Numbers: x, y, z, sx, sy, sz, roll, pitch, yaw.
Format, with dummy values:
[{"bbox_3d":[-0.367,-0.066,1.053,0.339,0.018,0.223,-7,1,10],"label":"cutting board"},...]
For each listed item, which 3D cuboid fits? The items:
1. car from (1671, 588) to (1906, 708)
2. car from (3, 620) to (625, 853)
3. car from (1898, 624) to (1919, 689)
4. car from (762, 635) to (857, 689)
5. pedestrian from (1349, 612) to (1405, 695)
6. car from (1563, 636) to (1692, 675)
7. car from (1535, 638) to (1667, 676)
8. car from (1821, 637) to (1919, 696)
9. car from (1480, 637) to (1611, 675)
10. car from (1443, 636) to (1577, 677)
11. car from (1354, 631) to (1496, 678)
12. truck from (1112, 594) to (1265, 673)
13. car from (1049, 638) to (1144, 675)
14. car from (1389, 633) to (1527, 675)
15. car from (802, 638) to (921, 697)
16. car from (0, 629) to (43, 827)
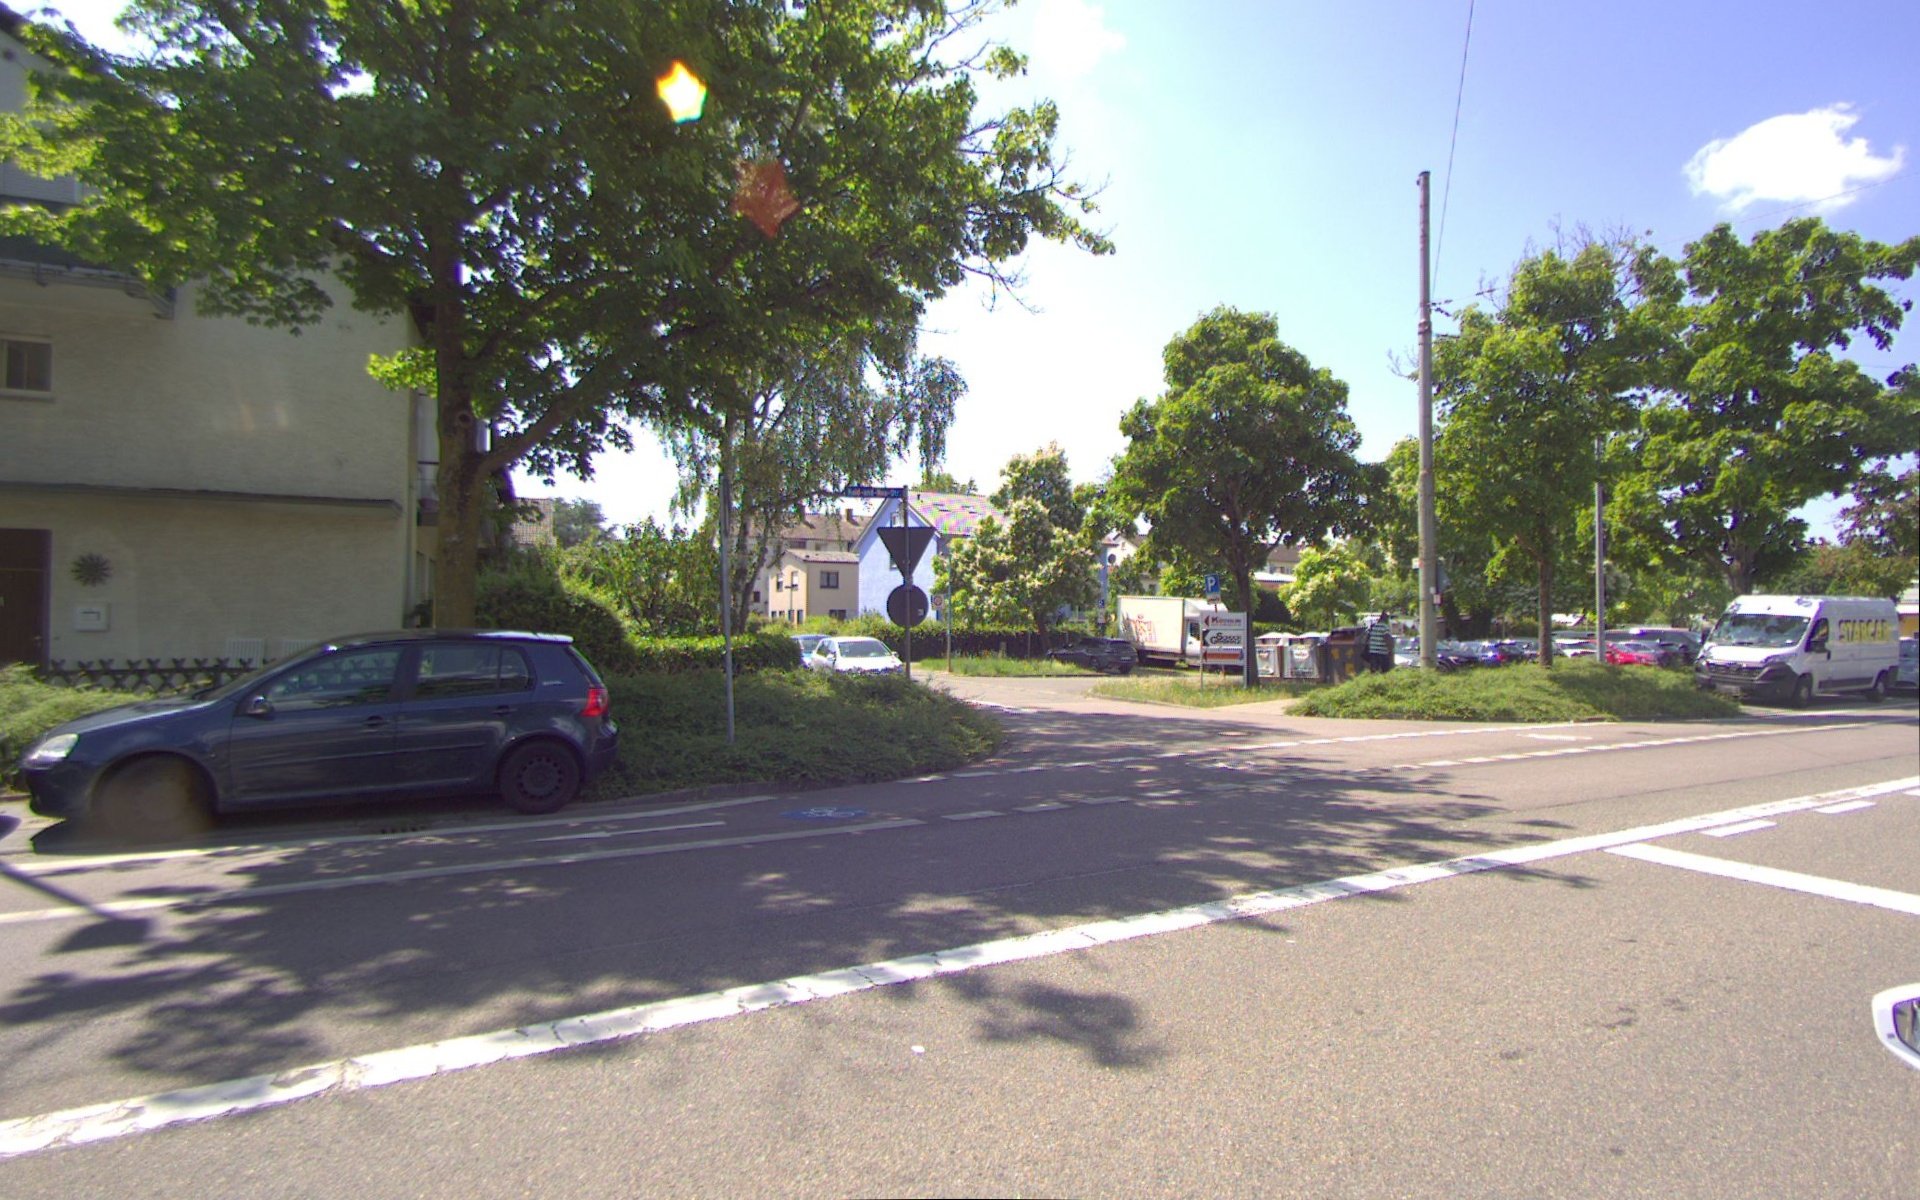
[{"bbox_3d":[19.835,1.077,23.987,6.116,2.520,2.147,1,1,-29],"label":"car"},{"bbox_3d":[-5.090,0.963,8.485,4.001,1.500,1.765,1,0,-31],"label":"car"},{"bbox_3d":[30.457,1.718,30.440,4.221,1.920,1.860,1,-2,-30],"label":"car"},{"bbox_3d":[-4.753,1.872,31.348,1.788,1.536,3.973,1,-2,-27],"label":"car"},{"bbox_3d":[9.572,1.206,23.071,0.964,1.847,0.790,-1,-2,44],"label":"pedestrian"},{"bbox_3d":[26.800,2.183,40.433,1.784,1.461,3.967,1,-2,-31],"label":"car"},{"bbox_3d":[24.760,2.169,38.919,1.785,1.357,3.967,1,-2,-31],"label":"car"},{"bbox_3d":[25.131,1.742,26.909,4.292,1.456,1.860,1,-2,-30],"label":"car"},{"bbox_3d":[22.200,2.089,38.234,1.785,1.357,3.967,1,-2,-31],"label":"car"},{"bbox_3d":[20.051,2.022,36.743,1.785,1.357,3.967,1,-2,-31],"label":"car"},{"bbox_3d":[15.322,1.757,33.302,1.785,1.461,3.967,1,-2,-31],"label":"car"},{"bbox_3d":[10.013,1.481,44.791,2.307,3.270,7.148,1,-2,-32],"label":"truck"},{"bbox_3d":[5.535,2.275,41.154,1.753,1.417,3.966,1,-2,-32],"label":"car"},{"bbox_3d":[17.194,1.830,34.852,1.785,1.357,3.967,1,-2,-31],"label":"car"},{"bbox_3d":[-2.662,1.710,26.237,1.788,1.376,3.973,1,-2,-27],"label":"car"},{"bbox_3d":[-9.052,0.902,6.263,4.646,1.391,1.764,1,0,-33],"label":"car"}]
